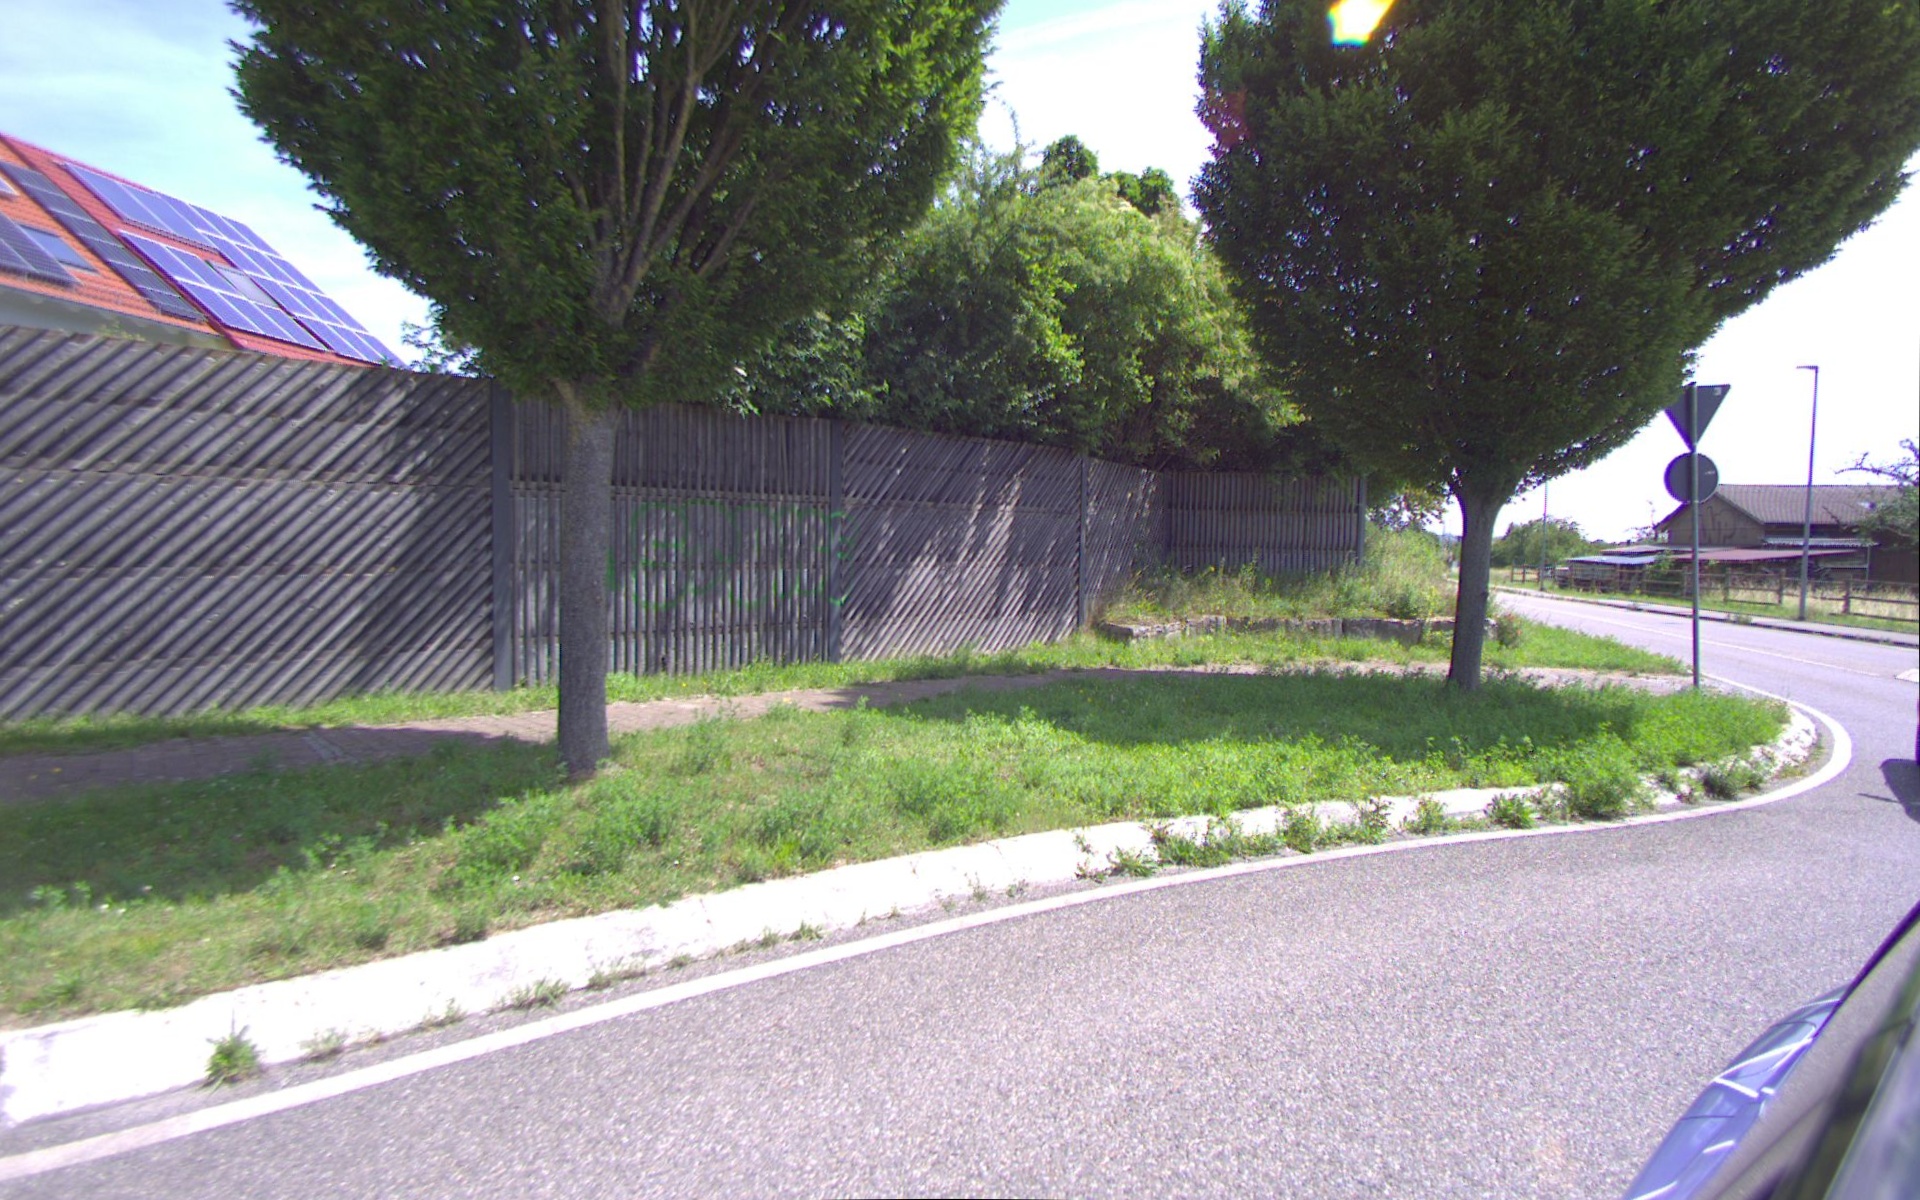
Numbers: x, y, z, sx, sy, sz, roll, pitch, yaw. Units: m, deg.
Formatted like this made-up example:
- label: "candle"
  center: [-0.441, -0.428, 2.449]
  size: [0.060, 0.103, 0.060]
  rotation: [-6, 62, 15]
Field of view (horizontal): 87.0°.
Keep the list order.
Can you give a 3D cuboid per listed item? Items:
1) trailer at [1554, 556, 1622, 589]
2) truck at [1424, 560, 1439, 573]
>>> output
- label: "trailer"
  center: [37.576, -1.685, 60.710]
  size: [2.133, 1.723, 5.003]
  rotation: [4, 4, 17]
- label: "truck"
  center: [90.717, -6.520, 194.746]
  size: [2.205, 2.320, 6.443]
  rotation: [3, 4, 23]
